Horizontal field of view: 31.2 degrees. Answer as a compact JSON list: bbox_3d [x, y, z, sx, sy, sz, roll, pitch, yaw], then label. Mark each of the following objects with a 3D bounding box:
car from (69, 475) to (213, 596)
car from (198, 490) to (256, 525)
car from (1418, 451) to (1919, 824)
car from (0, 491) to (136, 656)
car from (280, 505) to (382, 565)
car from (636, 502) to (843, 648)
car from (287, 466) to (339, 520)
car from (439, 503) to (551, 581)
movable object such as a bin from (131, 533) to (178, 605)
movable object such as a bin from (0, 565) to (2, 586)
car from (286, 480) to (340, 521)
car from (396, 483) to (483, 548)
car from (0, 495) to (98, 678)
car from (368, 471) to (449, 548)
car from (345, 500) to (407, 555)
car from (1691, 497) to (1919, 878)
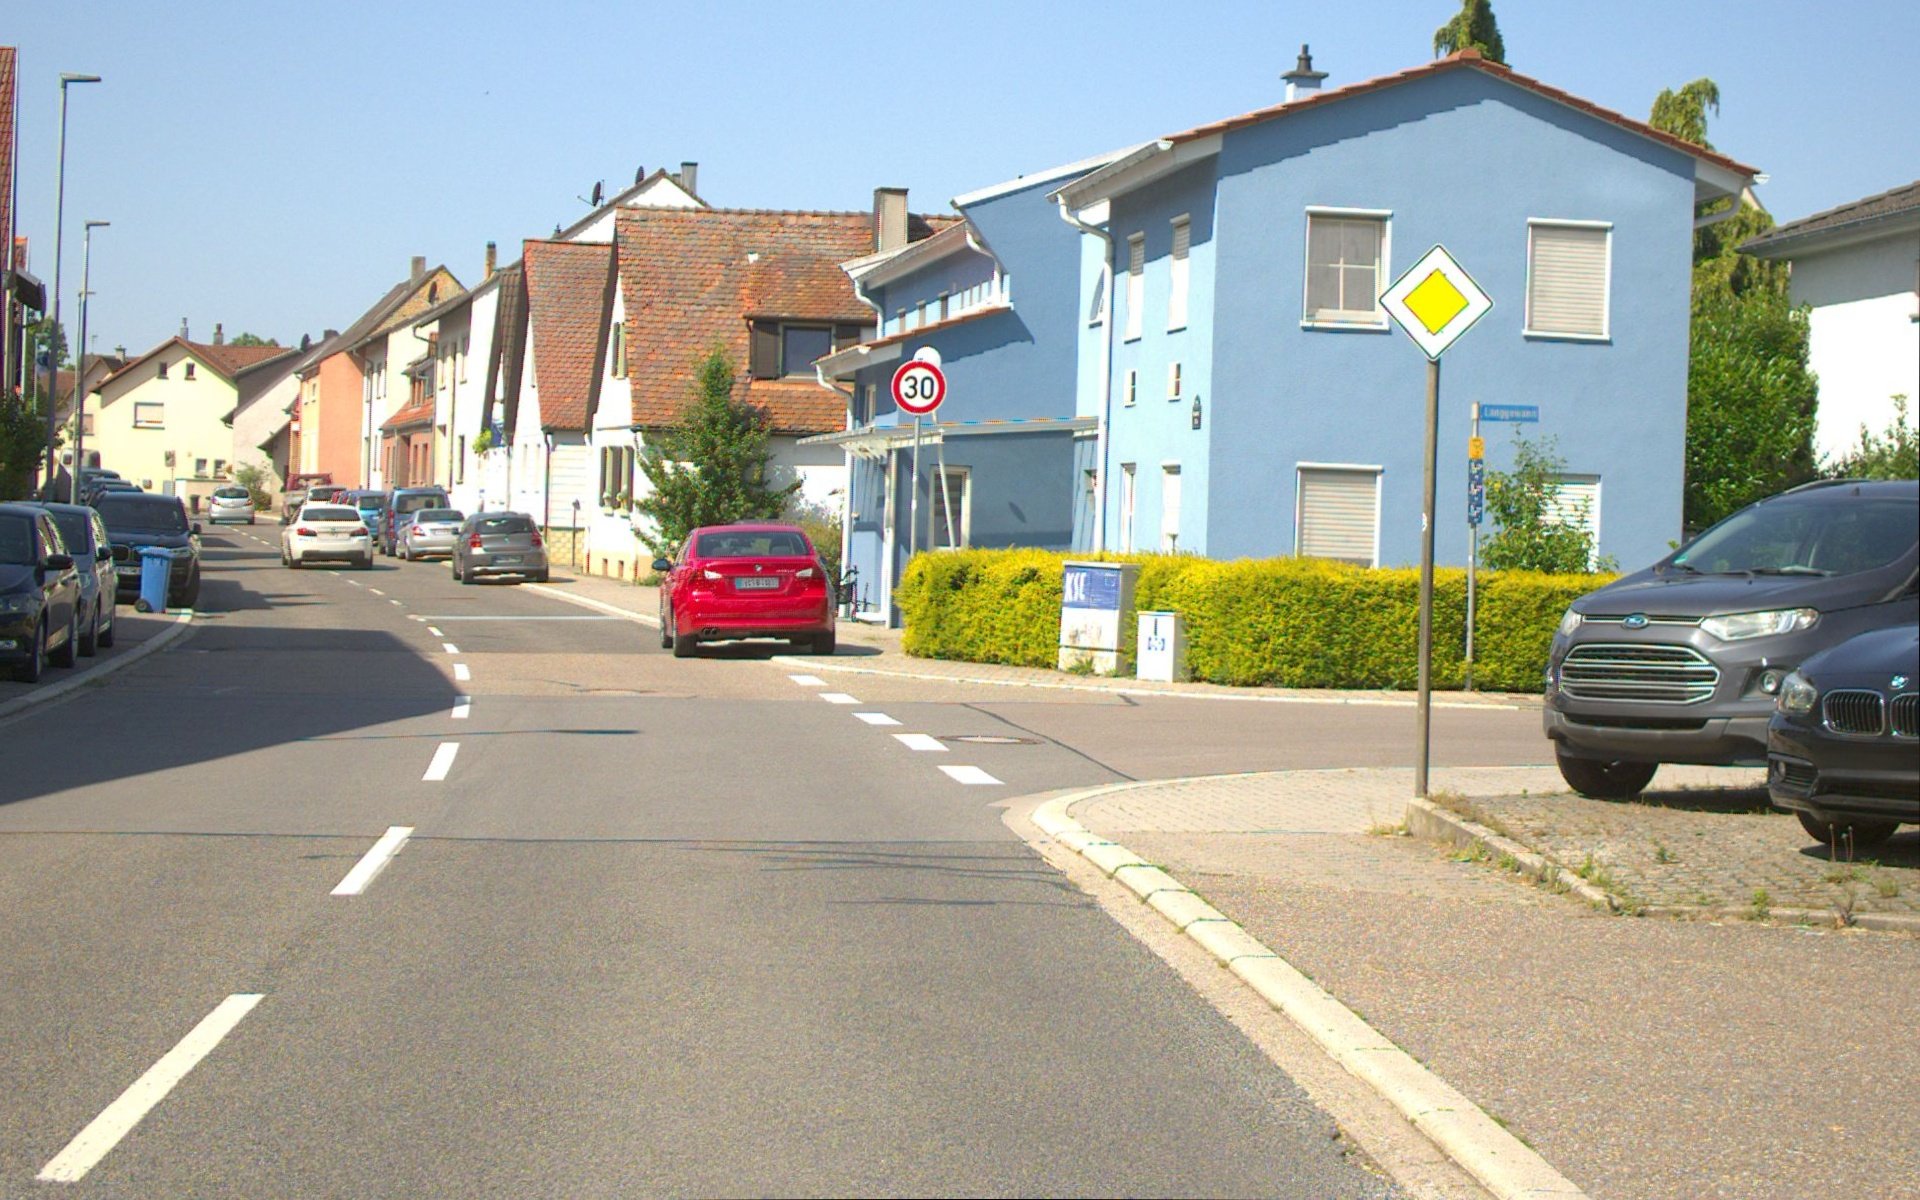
[{"bbox_3d":[-12.687,-1.020,53.469,1.919,1.662,4.667,4,1,-12],"label":"car"},{"bbox_3d":[-28.235,-3.568,132.319,1.993,1.284,3.805,1,1,-14],"label":"car"},{"bbox_3d":[4.400,0.142,17.263,4.102,1.647,1.831,0,2,-40],"label":"car"},{"bbox_3d":[-9.404,-0.320,34.778,1.640,1.496,3.782,5,1,-9],"label":"car"},{"bbox_3d":[-14.403,-1.490,78.599,1.993,1.284,4.001,1,1,-14],"label":"car"},{"bbox_3d":[-2.520,-0.317,38.318,1.732,1.489,4.356,0,2,-11],"label":"car"},{"bbox_3d":[-24.728,-4.070,131.329,1.766,1.997,3.451,1,1,-13],"label":"car"},{"bbox_3d":[-9.420,-1.185,69.422,1.704,1.428,3.891,3,1,-15],"label":"car"},{"bbox_3d":[-11.413,-0.448,48.710,0.596,0.979,0.531,3,1,-12],"label":"movable object such as a bin"},{"bbox_3d":[-7.544,0.182,25.843,0.551,0.925,0.826,6,1,-14],"label":"movable object such as a bin"},{"bbox_3d":[-23.825,-3.657,126.574,1.766,1.428,3.451,1,1,-13],"label":"car"},{"bbox_3d":[-12.997,-2.119,85.735,1.704,1.491,3.454,3,1,-15],"label":"car"},{"bbox_3d":[-8.552,-0.203,29.643,1.678,1.432,3.997,5,1,-9],"label":"car"},{"bbox_3d":[-14.537,-2.395,90.519,1.649,1.903,3.627,3,1,-15],"label":"car"},{"bbox_3d":[-17.206,-2.159,101.225,1.420,1.510,3.305,3,1,-15],"label":"car"},{"bbox_3d":[4.968,0.335,14.569,3.863,1.442,1.750,0,2,-44],"label":"car"}]
